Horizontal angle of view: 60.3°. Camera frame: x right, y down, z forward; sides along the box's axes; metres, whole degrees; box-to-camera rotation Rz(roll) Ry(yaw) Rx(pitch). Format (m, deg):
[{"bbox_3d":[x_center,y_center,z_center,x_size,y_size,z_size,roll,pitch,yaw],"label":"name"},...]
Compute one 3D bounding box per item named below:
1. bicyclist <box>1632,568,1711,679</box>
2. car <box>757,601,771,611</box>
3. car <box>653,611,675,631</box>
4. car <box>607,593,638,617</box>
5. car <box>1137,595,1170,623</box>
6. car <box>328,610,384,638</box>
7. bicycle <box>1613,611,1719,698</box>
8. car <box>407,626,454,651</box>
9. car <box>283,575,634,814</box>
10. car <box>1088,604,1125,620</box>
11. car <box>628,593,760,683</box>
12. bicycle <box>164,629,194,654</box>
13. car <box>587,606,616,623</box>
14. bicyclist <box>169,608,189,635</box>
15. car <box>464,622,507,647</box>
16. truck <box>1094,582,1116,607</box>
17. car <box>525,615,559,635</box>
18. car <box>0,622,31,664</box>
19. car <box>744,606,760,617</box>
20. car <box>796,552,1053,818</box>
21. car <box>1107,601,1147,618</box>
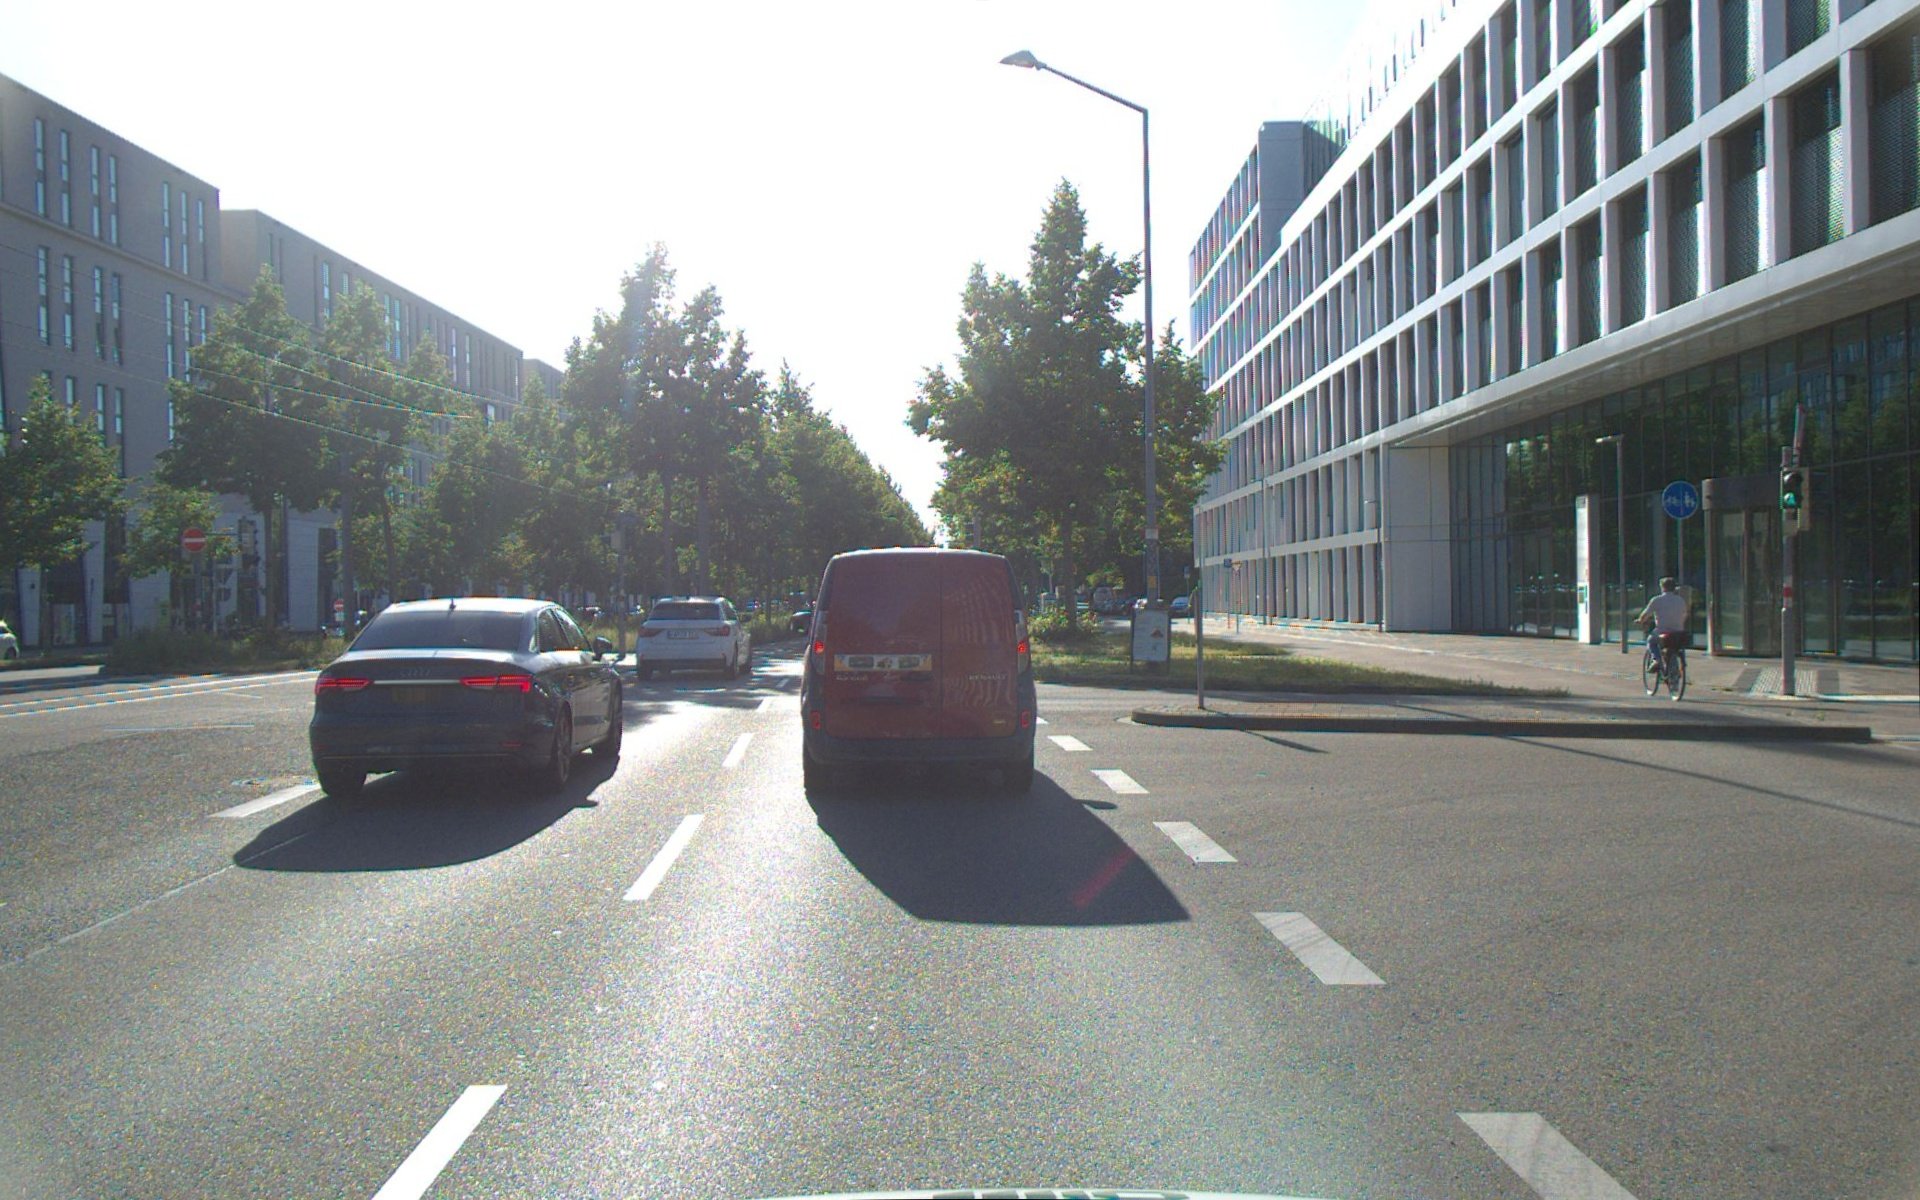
[{"bbox_3d":[10.284,0.332,23.930,0.755,1.558,0.850,-2,0,1],"label":"bicyclist"},{"bbox_3d":[-30.204,0.945,254.977,1.569,1.583,4.000,-1,0,1],"label":"car"},{"bbox_3d":[-31.169,2.216,174.325,1.694,2.049,3.999,-1,0,-1],"label":"car"},{"bbox_3d":[-29.872,0.420,146.564,1.953,2.049,3.999,-1,0,-1],"label":"car"},{"bbox_3d":[11.998,0.545,102.790,1.721,1.640,3.904,-1,0,2],"label":"car"},{"bbox_3d":[-31.660,1.233,86.819,1.547,1.366,3.712,-1,0,0],"label":"car"},{"bbox_3d":[10.295,0.769,24.181,0.726,1.194,1.961,-1,0,1],"label":"bicycle"},{"bbox_3d":[-31.814,2.310,99.484,1.547,1.366,3.712,-1,0,0],"label":"car"},{"bbox_3d":[-3.753,0.624,13.122,1.772,1.554,4.109,-1,0,-4],"label":"car"},{"bbox_3d":[13.643,1.110,153.570,3.326,1.382,1.472,-1,0,7],"label":"car"},{"bbox_3d":[-4.687,0.624,29.686,1.771,1.460,4.112,-1,0,-1],"label":"car"},{"bbox_3d":[-37.313,1.970,79.016,0.517,1.130,1.639,0,0,5],"label":"bicycle"},{"bbox_3d":[-30.025,1.207,138.454,1.547,1.366,3.712,-1,0,0],"label":"car"},{"bbox_3d":[-37.320,1.027,79.037,0.566,1.316,0.705,0,-1,4],"label":"bicyclist"},{"bbox_3d":[-32.111,2.334,111.929,1.739,1.555,3.806,-1,0,0],"label":"car"},{"bbox_3d":[15.208,-0.535,173.758,1.794,2.545,5.932,-1,0,0],"label":"truck"},{"bbox_3d":[-31.606,1.888,125.204,1.547,1.366,3.712,-1,0,0],"label":"car"},{"bbox_3d":[-32.356,1.449,53.927,1.547,1.366,4.472,-1,0,0],"label":"car"},{"bbox_3d":[-30.398,1.694,241.458,1.719,1.601,4.000,-1,0,0],"label":"car"},{"bbox_3d":[-0.343,0.588,13.660,1.772,1.825,4.110,-1,0,-3],"label":"car"},{"bbox_3d":[14.343,0.852,141.674,3.326,1.382,1.472,-1,0,7],"label":"car"}]
